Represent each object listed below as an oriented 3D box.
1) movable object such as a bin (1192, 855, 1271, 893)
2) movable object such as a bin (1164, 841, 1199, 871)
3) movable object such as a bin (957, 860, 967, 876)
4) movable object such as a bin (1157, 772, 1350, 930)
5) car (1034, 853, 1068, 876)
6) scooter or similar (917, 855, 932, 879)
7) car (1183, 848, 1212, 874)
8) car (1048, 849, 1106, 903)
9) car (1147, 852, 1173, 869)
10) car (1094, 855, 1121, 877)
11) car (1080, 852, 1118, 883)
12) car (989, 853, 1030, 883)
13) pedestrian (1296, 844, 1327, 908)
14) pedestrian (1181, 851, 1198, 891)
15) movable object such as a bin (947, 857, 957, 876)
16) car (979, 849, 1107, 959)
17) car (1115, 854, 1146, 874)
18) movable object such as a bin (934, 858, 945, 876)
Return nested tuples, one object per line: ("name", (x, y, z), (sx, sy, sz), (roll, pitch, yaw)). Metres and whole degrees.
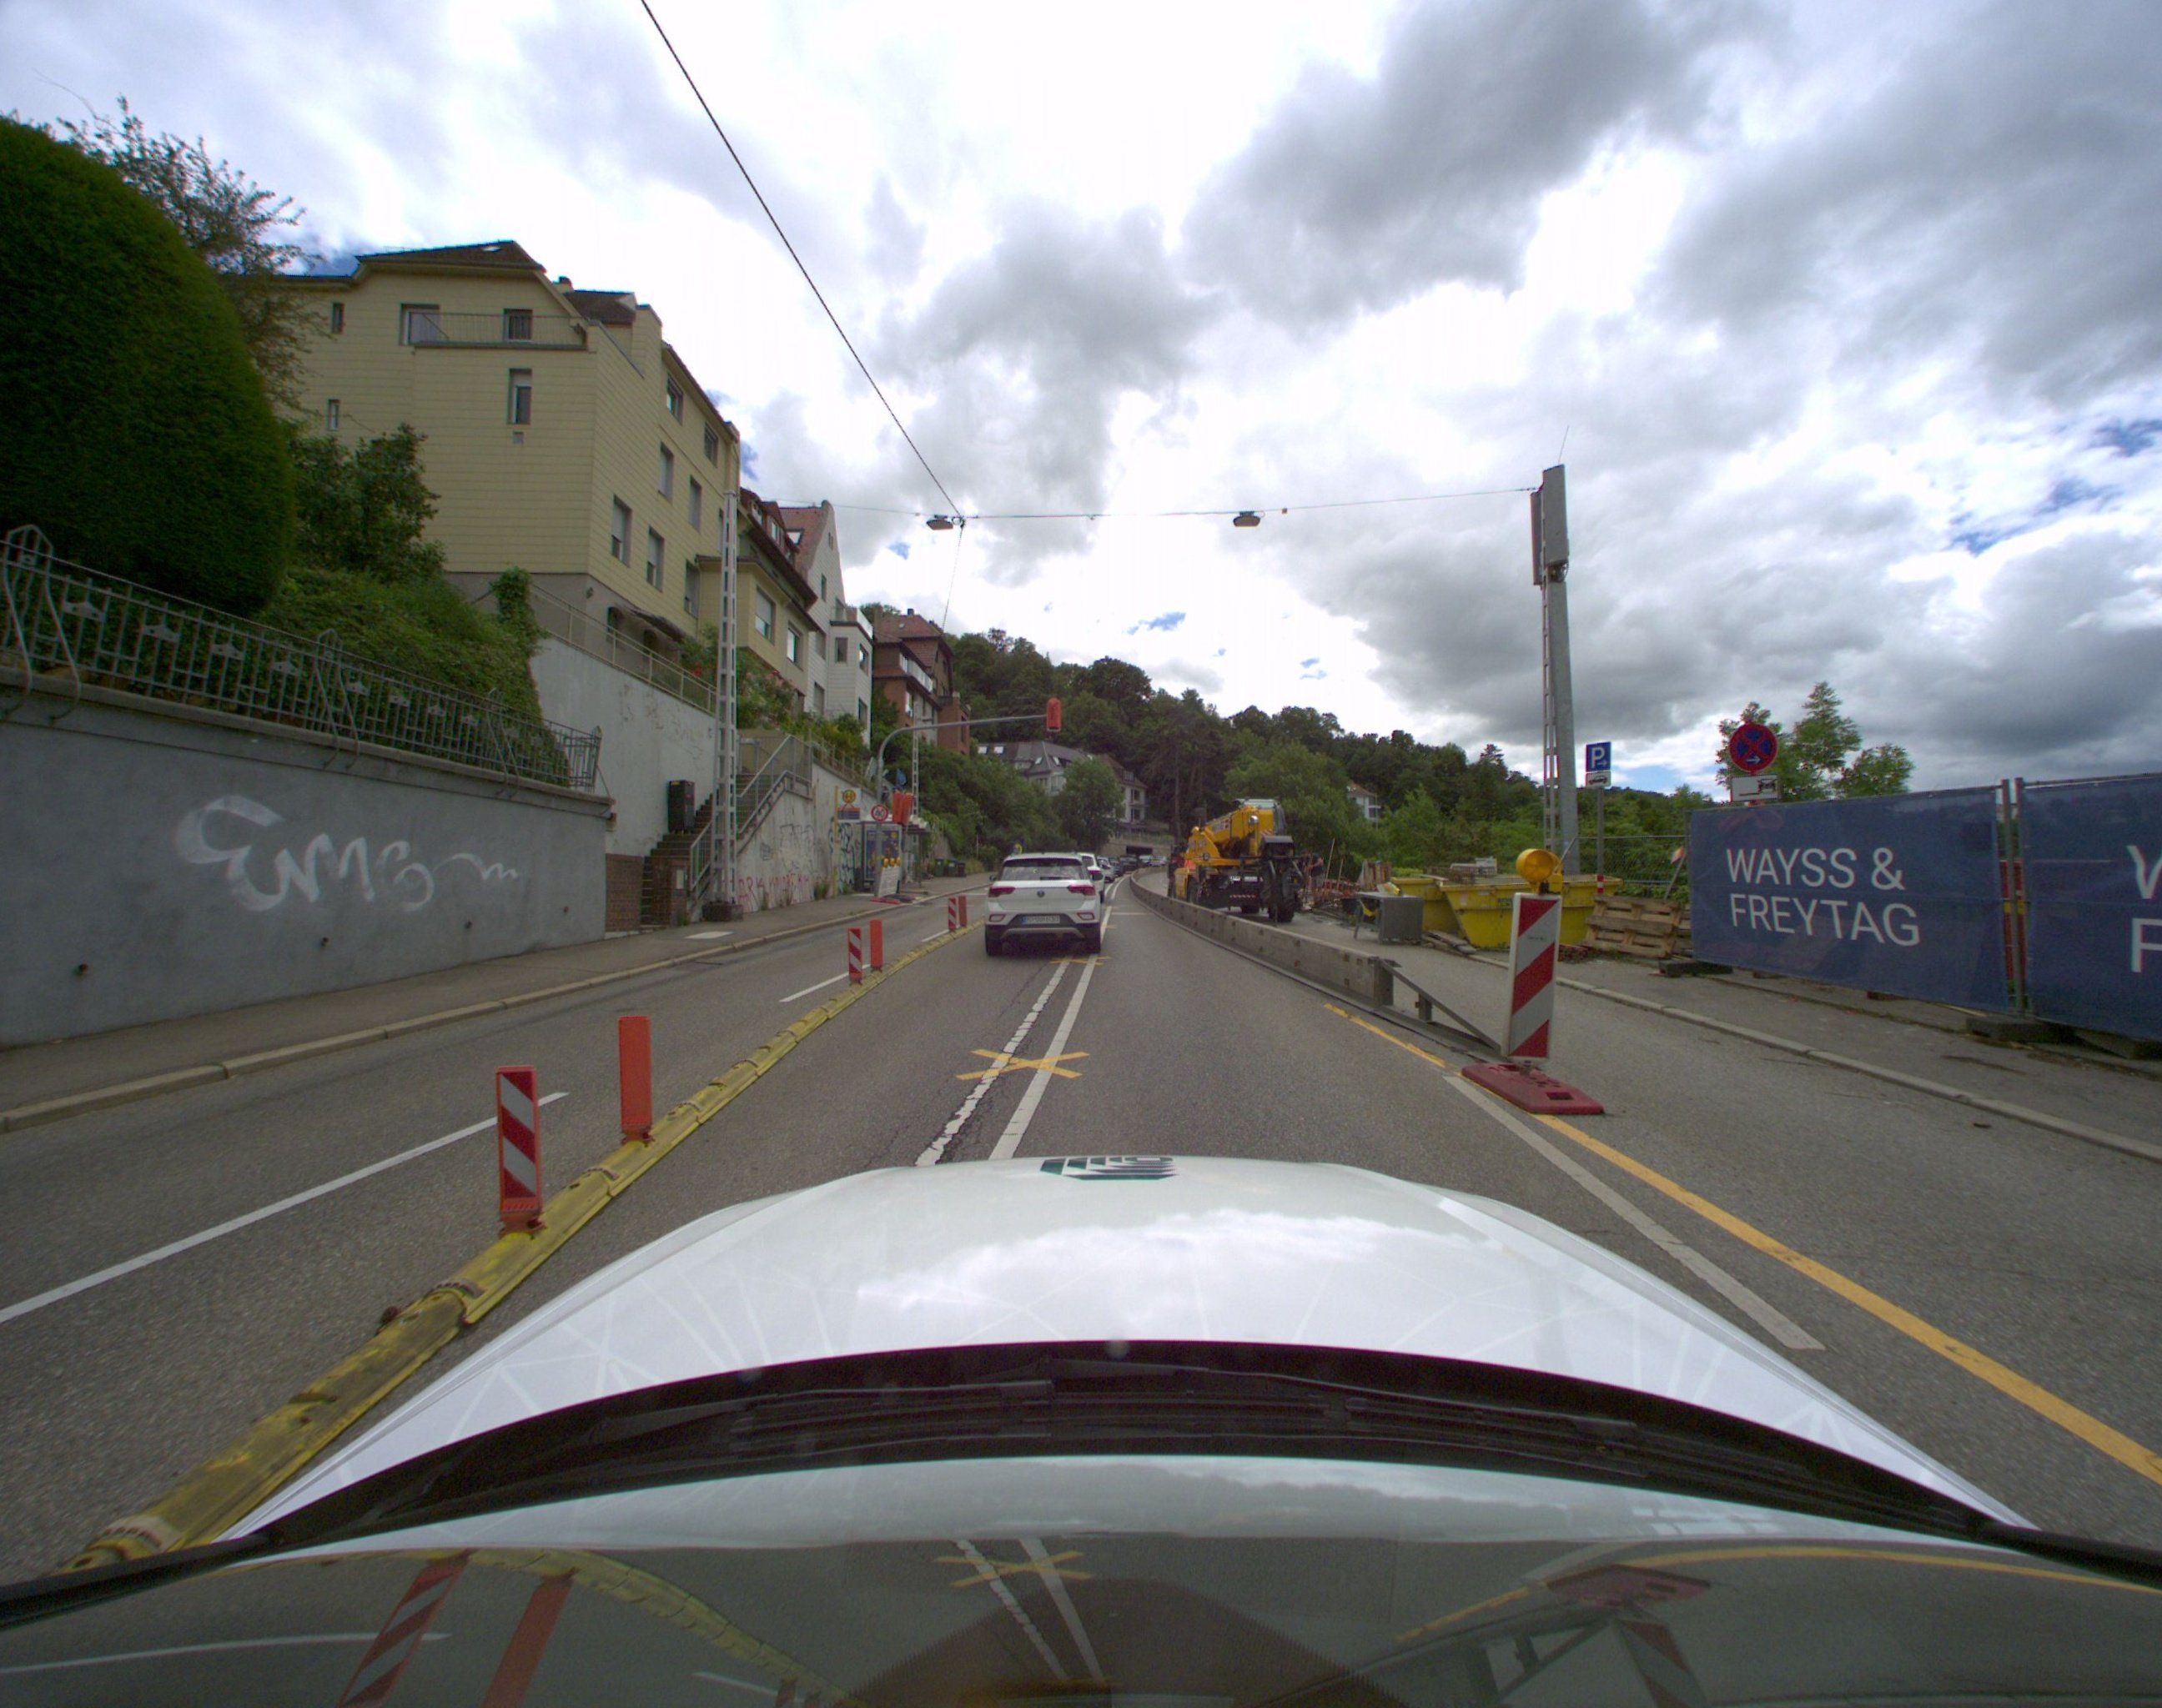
("movable object such as a bin", (6.763, 0.859, 37.432), (2.366, 1.561, 7.098), (0, 0, 0))
("movable object such as a bin", (9.108, 0.171, 73.434), (2.193, 2.663, 4.968), (0, 0, 19))
("movable object such as a bin", (-6.840, 0.810, 46.858), (0.466, 0.934, 0.624), (1, 0, 1))
("movable object such as a bin", (3.763, -0.049, 19.876), (2.804, 3.071, 7.817), (0, 0, -2))
("car", (-2.132, 0.738, 58.569), (1.832, 1.599, 4.271), (0, 0, 6))
("scooter or similar", (-7.989, 0.662, 41.673), (0.458, 1.205, 1.435), (2, 0, -1))
("car", (8.064, 0.468, 56.647), (1.823, 1.779, 4.276), (0, 0, 6))
("car", (-0.090, 0.691, 27.613), (1.803, 1.663, 4.001), (-1, 0, 1))
("car", (8.377, 0.656, 85.904), (1.795, 1.663, 4.019), (-2, 0, 18))
("car", (1.980, 0.842, 59.763), (1.786, 1.510, 4.005), (-1, 0, 5))
("car", (1.080, 0.735, 47.019), (1.800, 1.663, 4.007), (-1, 0, 6))
("car", (-3.730, 0.718, 42.825), (1.665, 1.430, 3.590), (1, 0, 2))
("pedestrian", (6.603, 0.619, 23.368), (0.689, 1.795, 0.538), (0, 0, -11))
("pedestrian", (4.705, 0.734, 35.379), (0.643, 1.701, 0.850), (1, 0, 2))
("movable object such as a bin", (-7.425, 0.730, 46.899), (0.466, 1.053, 0.624), (1, 0, 1))
("car", (-0.632, 0.722, 13.689), (1.805, 1.531, 3.996), (-1, 0, -3))
("car", (4.409, 0.844, 71.508), (1.795, 1.663, 4.018), (-2, 0, 17))
("movable object such as a bin", (-8.148, 0.747, 46.903), (0.466, 1.053, 0.624), (1, 0, 1))
